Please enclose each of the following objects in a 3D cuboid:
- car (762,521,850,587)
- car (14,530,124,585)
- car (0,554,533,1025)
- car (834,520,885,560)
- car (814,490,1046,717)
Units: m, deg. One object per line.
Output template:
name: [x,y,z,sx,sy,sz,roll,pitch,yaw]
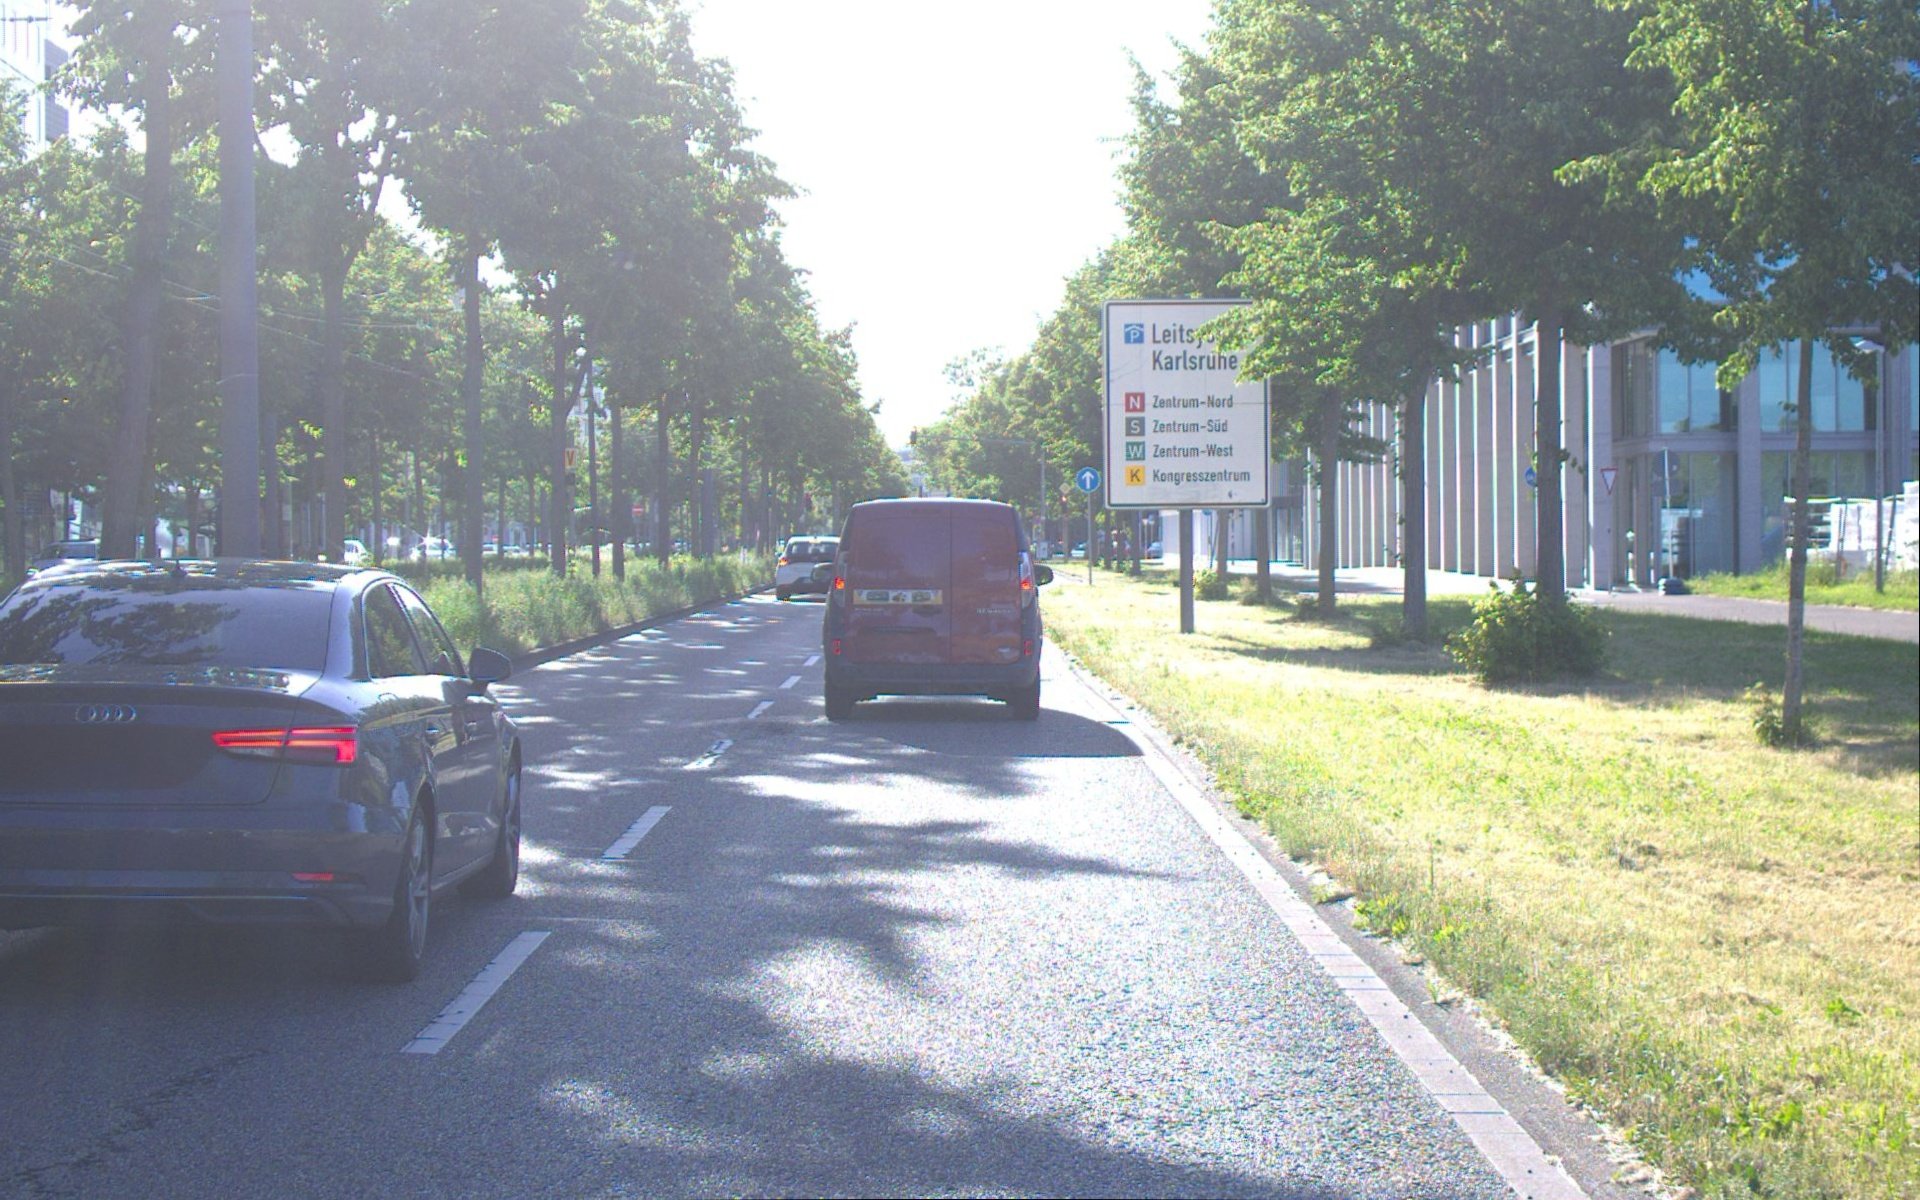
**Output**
car: [-3.514,-1.070,78.665,1.942,1.436,4.001,-1,1,-2]
car: [-23.505,-1.139,90.828,1.797,1.287,4.311,-1,2,-1]
car: [-2.659,0.546,12.466,1.721,1.361,4.146,1,1,0]
car: [-4.090,-2.438,140.318,1.843,1.529,3.939,0,0,2]
car: [-0.287,-0.003,29.153,1.797,1.771,4.000,1,1,-1]
